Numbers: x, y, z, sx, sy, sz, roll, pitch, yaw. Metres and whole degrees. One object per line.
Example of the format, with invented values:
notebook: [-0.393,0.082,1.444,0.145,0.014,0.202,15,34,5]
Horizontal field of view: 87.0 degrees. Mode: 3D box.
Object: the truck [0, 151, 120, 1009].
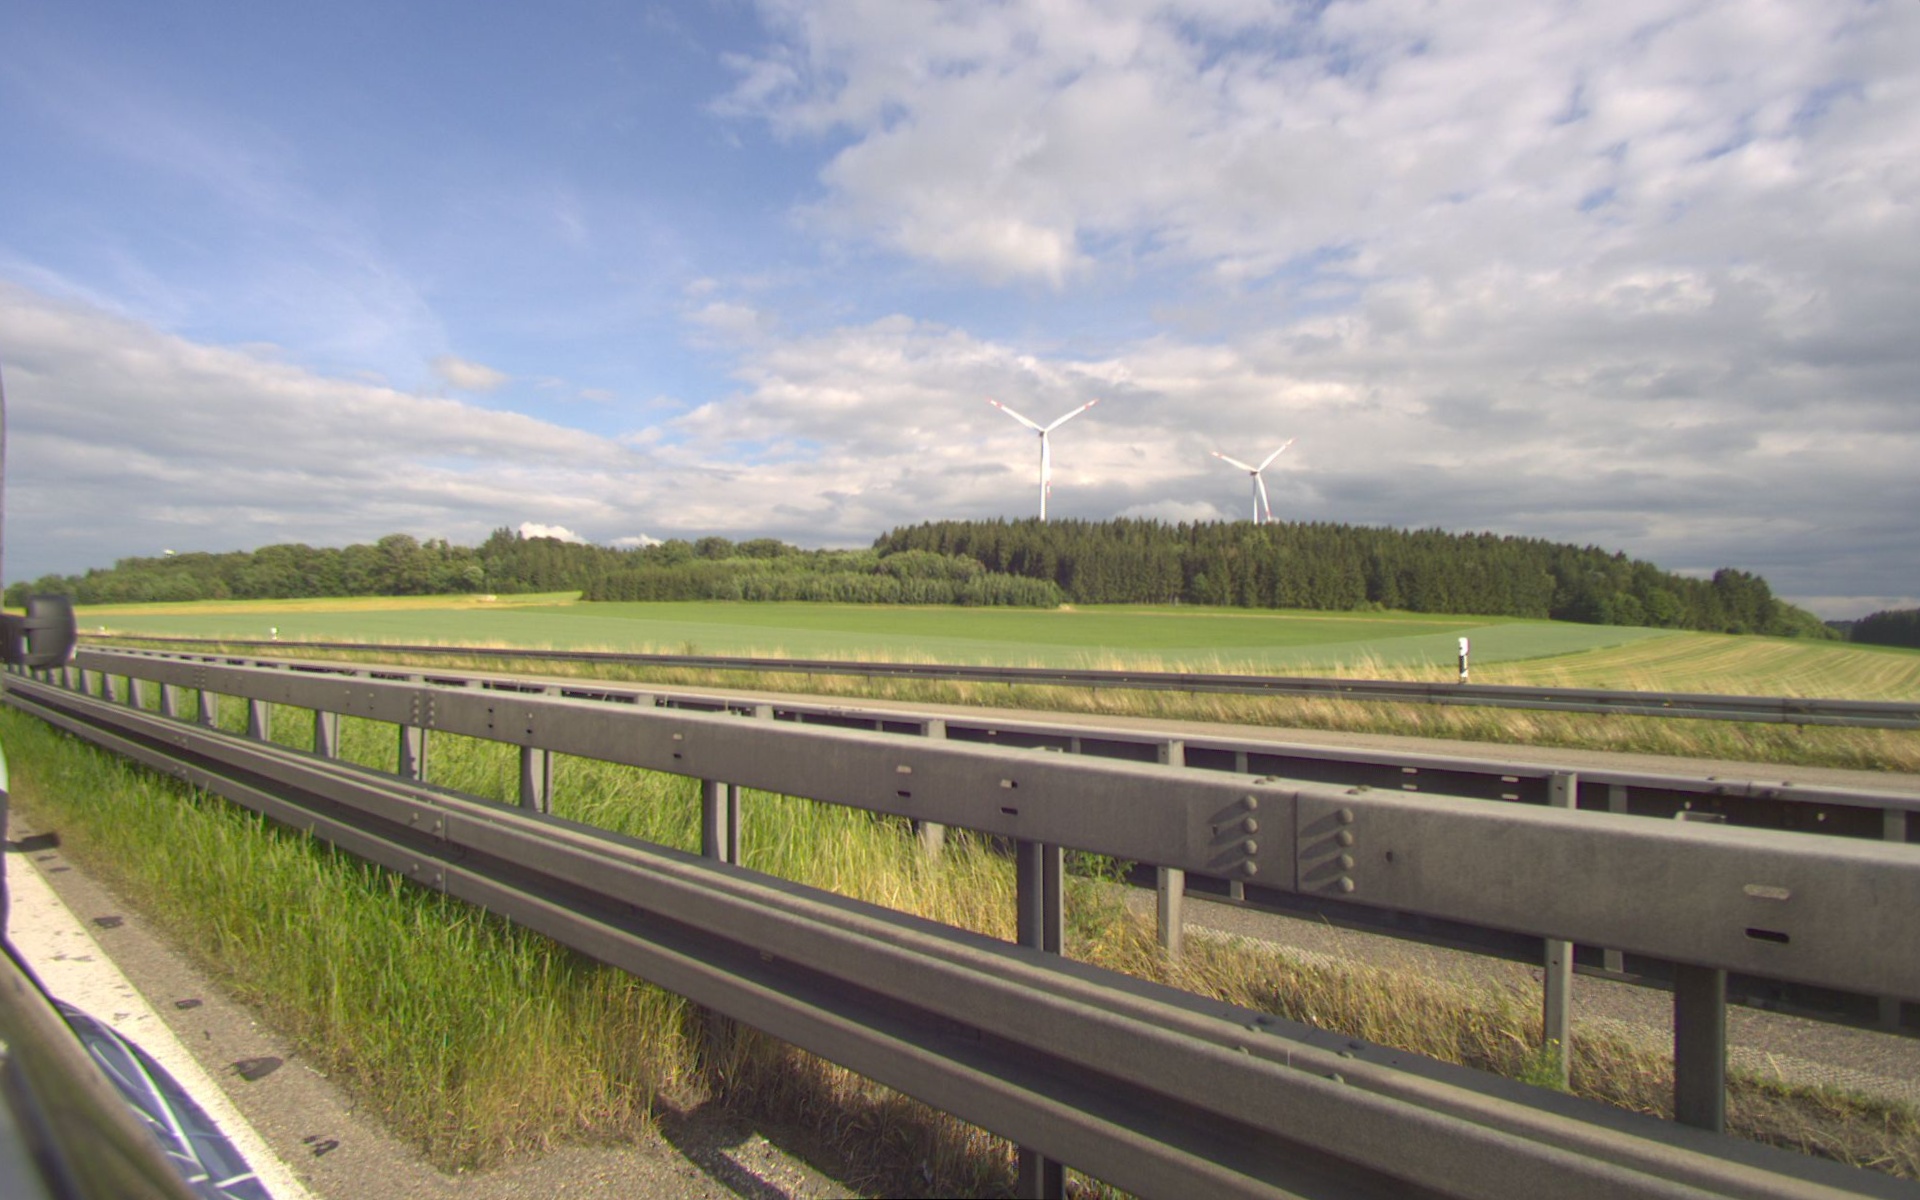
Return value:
truck: [-8.368,0.037,6.683,11.155,3.183,2.470,-2,-2,40]
